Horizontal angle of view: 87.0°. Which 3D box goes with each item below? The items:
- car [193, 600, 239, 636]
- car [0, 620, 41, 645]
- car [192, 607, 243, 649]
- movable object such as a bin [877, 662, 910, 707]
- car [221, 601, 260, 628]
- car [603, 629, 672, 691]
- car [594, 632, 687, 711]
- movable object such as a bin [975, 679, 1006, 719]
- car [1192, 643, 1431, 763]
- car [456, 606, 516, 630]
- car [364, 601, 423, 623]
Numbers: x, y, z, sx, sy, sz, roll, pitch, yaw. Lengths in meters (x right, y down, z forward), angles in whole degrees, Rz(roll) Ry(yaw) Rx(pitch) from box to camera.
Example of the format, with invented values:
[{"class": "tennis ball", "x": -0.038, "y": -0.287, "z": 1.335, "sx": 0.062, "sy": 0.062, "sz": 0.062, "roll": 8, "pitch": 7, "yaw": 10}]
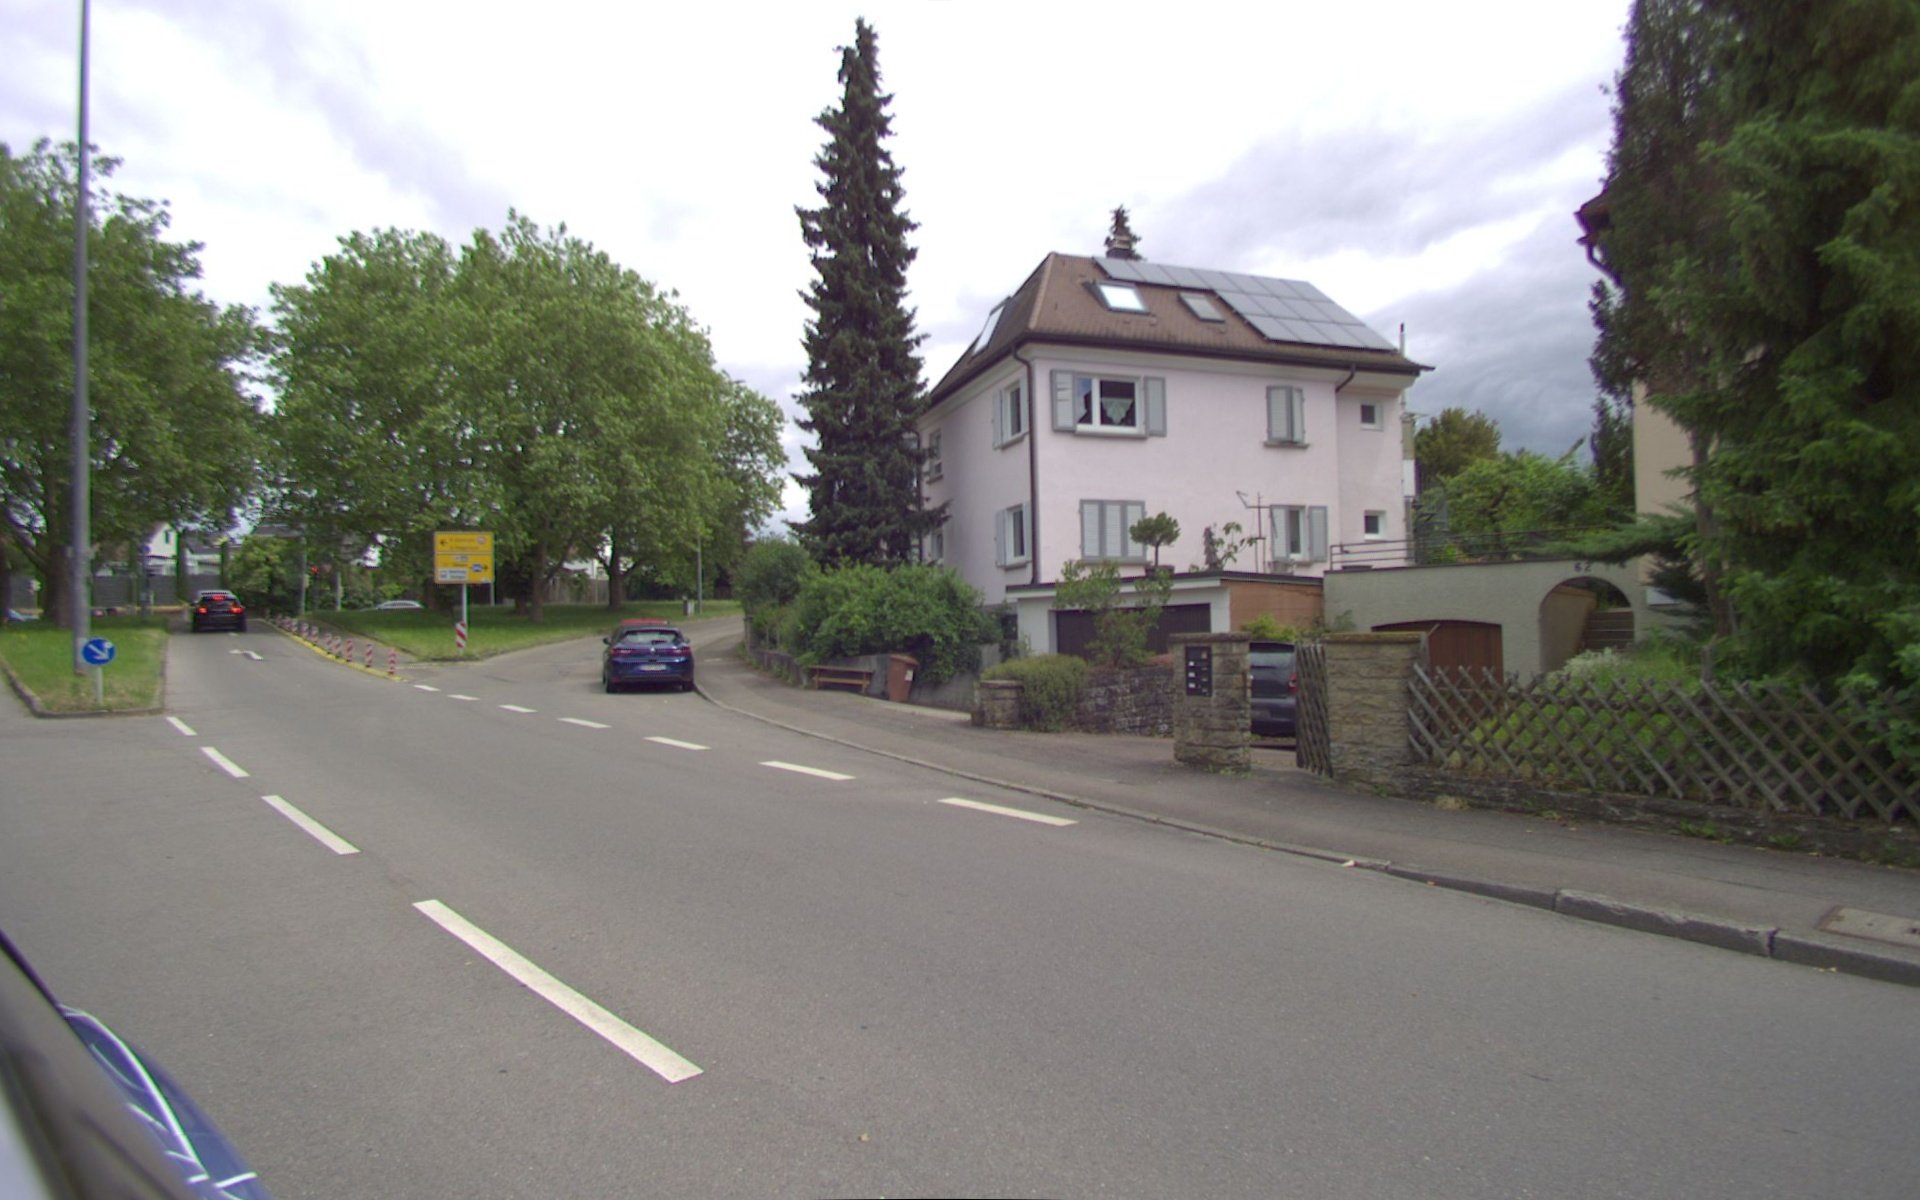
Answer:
[{"class": "car", "x": -38.990, "y": 0.954, "z": 52.970, "sx": 1.827, "sy": 1.671, "sz": 4.916, "roll": -1, "pitch": -2, "yaw": -37}, {"class": "car", "x": -62.636, "y": 2.151, "z": 65.708, "sx": 4.082, "sy": 1.440, "sz": 1.800, "roll": -2, "pitch": -4, "yaw": -7}, {"class": "car", "x": -33.194, "y": 1.213, "z": 45.216, "sx": 1.734, "sy": 1.603, "sz": 4.623, "roll": -1, "pitch": 2, "yaw": -37}, {"class": "movable object such as a bin", "x": -1.290, "y": 1.644, "z": 19.706, "sx": 0.588, "sy": 0.842, "sz": 0.313, "roll": -2, "pitch": -2, "yaw": 42}, {"class": "car", "x": -42.804, "y": 0.836, "z": 60.138, "sx": 1.734, "sy": 1.529, "sz": 4.396, "roll": -1, "pitch": 0, "yaw": -37}, {"class": "car", "x": -8.863, "y": 1.593, "z": 28.014, "sx": 1.703, "sy": 1.485, "sz": 4.291, "roll": 0, "pitch": -1, "yaw": -16}, {"class": "car", "x": -7.195, "y": 1.499, "z": 22.520, "sx": 1.703, "sy": 1.485, "sz": 4.329, "roll": 0, "pitch": -1, "yaw": -21}, {"class": "movable object such as a bin", "x": 0.614, "y": 1.985, "z": 20.347, "sx": 0.545, "sy": 0.777, "sz": 0.313, "roll": -2, "pitch": -2, "yaw": 42}, {"class": "car", "x": 5.202, "y": 1.540, "z": 14.857, "sx": 3.312, "sy": 1.549, "sz": 1.832, "roll": 7, "pitch": -7, "yaw": -39}, {"class": "car", "x": -33.058, "y": 1.262, "z": 70.687, "sx": 3.584, "sy": 1.536, "sz": 1.655, "roll": 2, "pitch": -4, "yaw": -17}, {"class": "car", "x": -42.578, "y": 0.911, "z": 76.166, "sx": 3.584, "sy": 1.541, "sz": 1.655, "roll": 0, "pitch": -3, "yaw": -17}]
